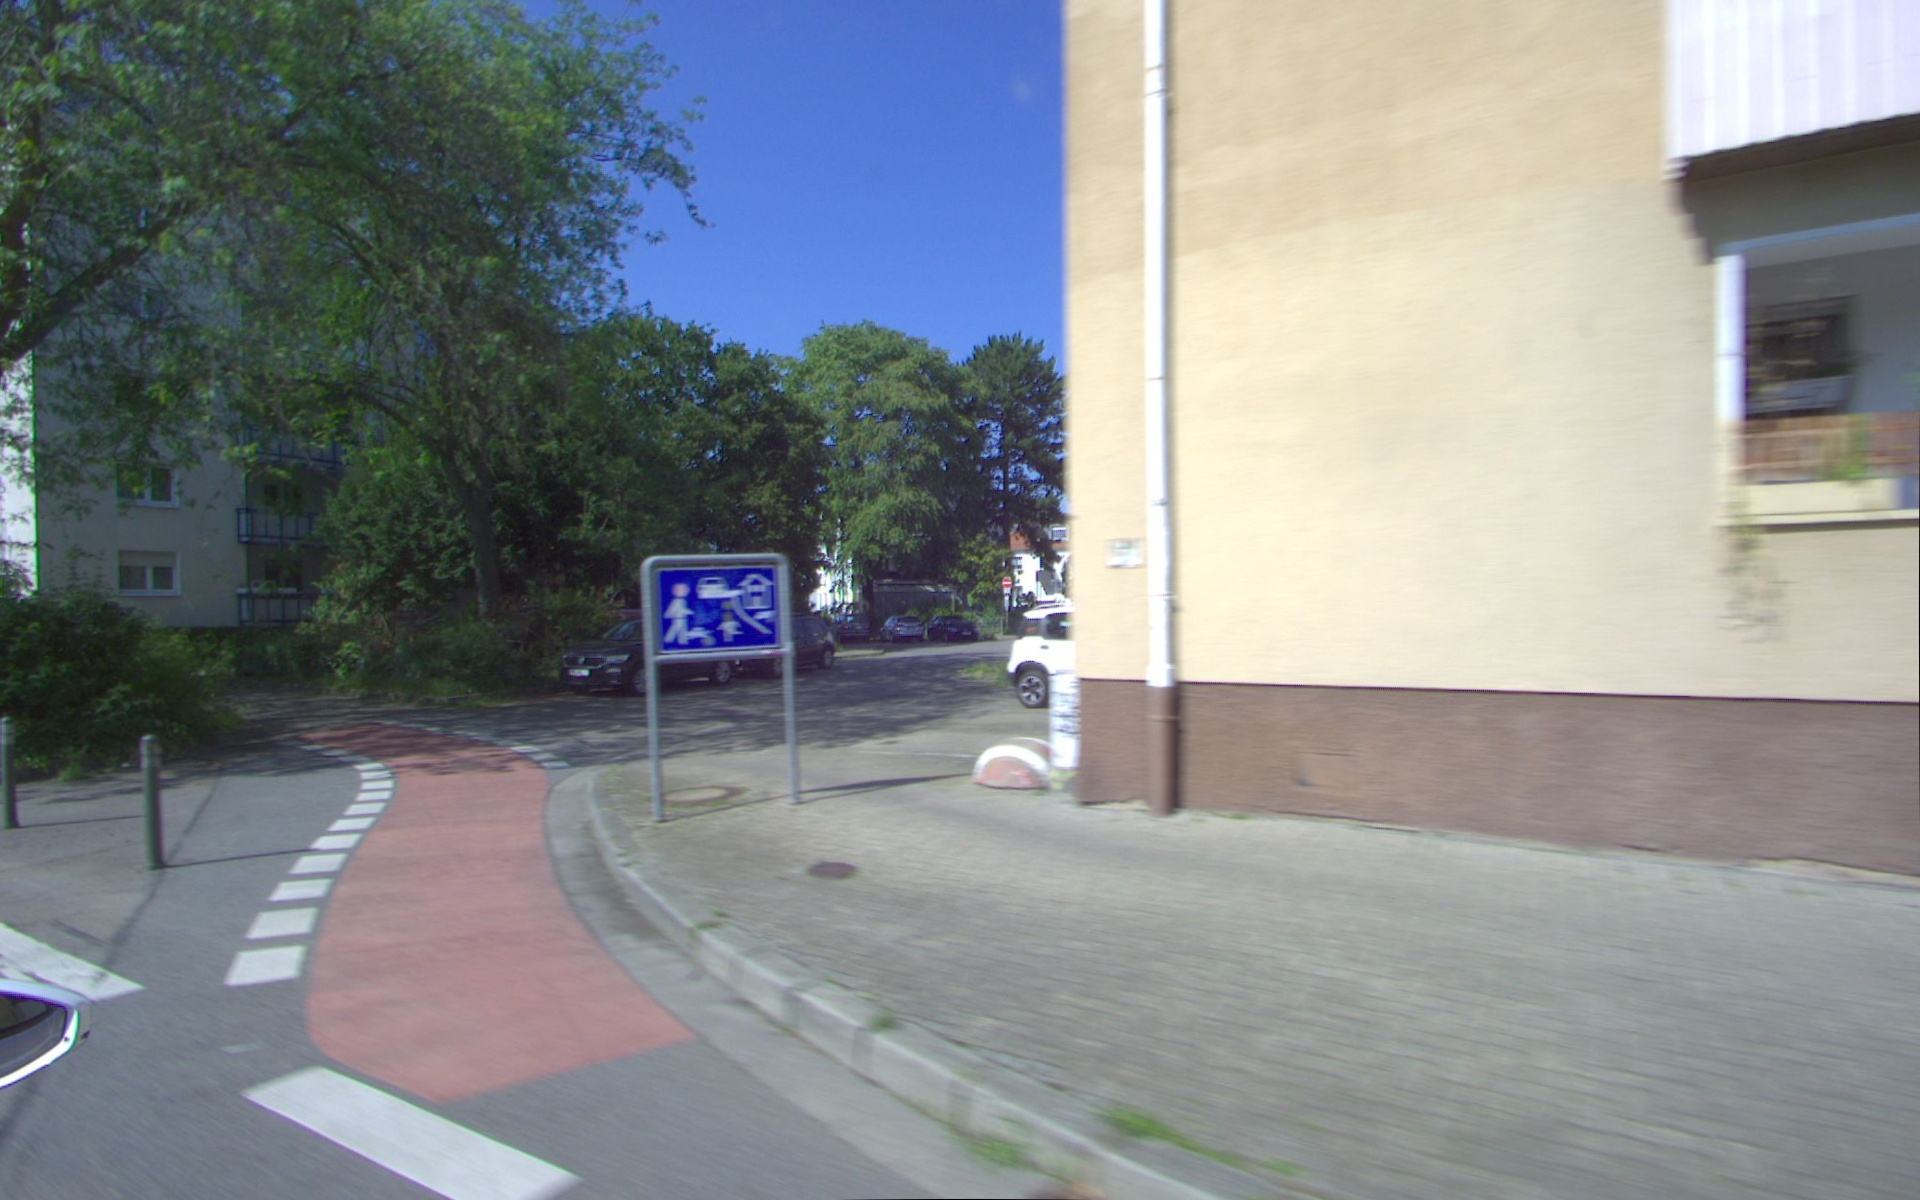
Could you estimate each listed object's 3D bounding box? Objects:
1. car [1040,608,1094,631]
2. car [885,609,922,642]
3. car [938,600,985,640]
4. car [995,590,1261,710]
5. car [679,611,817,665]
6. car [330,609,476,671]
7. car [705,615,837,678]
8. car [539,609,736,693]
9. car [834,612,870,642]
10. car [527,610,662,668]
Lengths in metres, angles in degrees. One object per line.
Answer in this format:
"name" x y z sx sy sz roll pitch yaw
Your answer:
"car" 6.824 1.229 63.336 1.718 1.416 4.228 -2 -2 32
"car" -3.092 1.380 55.128 1.895 1.706 4.000 0 -1 -1
"car" 0.120 1.081 53.892 1.896 2.040 3.998 0 -1 10
"car" 2.561 0.773 15.618 3.736 1.661 1.651 -3 -2 35
"car" -7.052 1.241 33.362 4.146 1.695 1.781 0 -1 -28
"car" -16.040 1.126 29.027 3.531 1.675 1.682 0 -1 -24
"car" -4.709 1.122 25.447 1.749 1.461 3.766 0 -1 17
"car" -6.607 1.009 20.975 1.810 1.568 3.962 -1 -1 22
"car" -6.158 1.519 56.883 1.896 1.639 3.999 0 -1 -8
"car" -11.418 1.175 31.309 3.790 1.695 1.655 0 -1 -28
